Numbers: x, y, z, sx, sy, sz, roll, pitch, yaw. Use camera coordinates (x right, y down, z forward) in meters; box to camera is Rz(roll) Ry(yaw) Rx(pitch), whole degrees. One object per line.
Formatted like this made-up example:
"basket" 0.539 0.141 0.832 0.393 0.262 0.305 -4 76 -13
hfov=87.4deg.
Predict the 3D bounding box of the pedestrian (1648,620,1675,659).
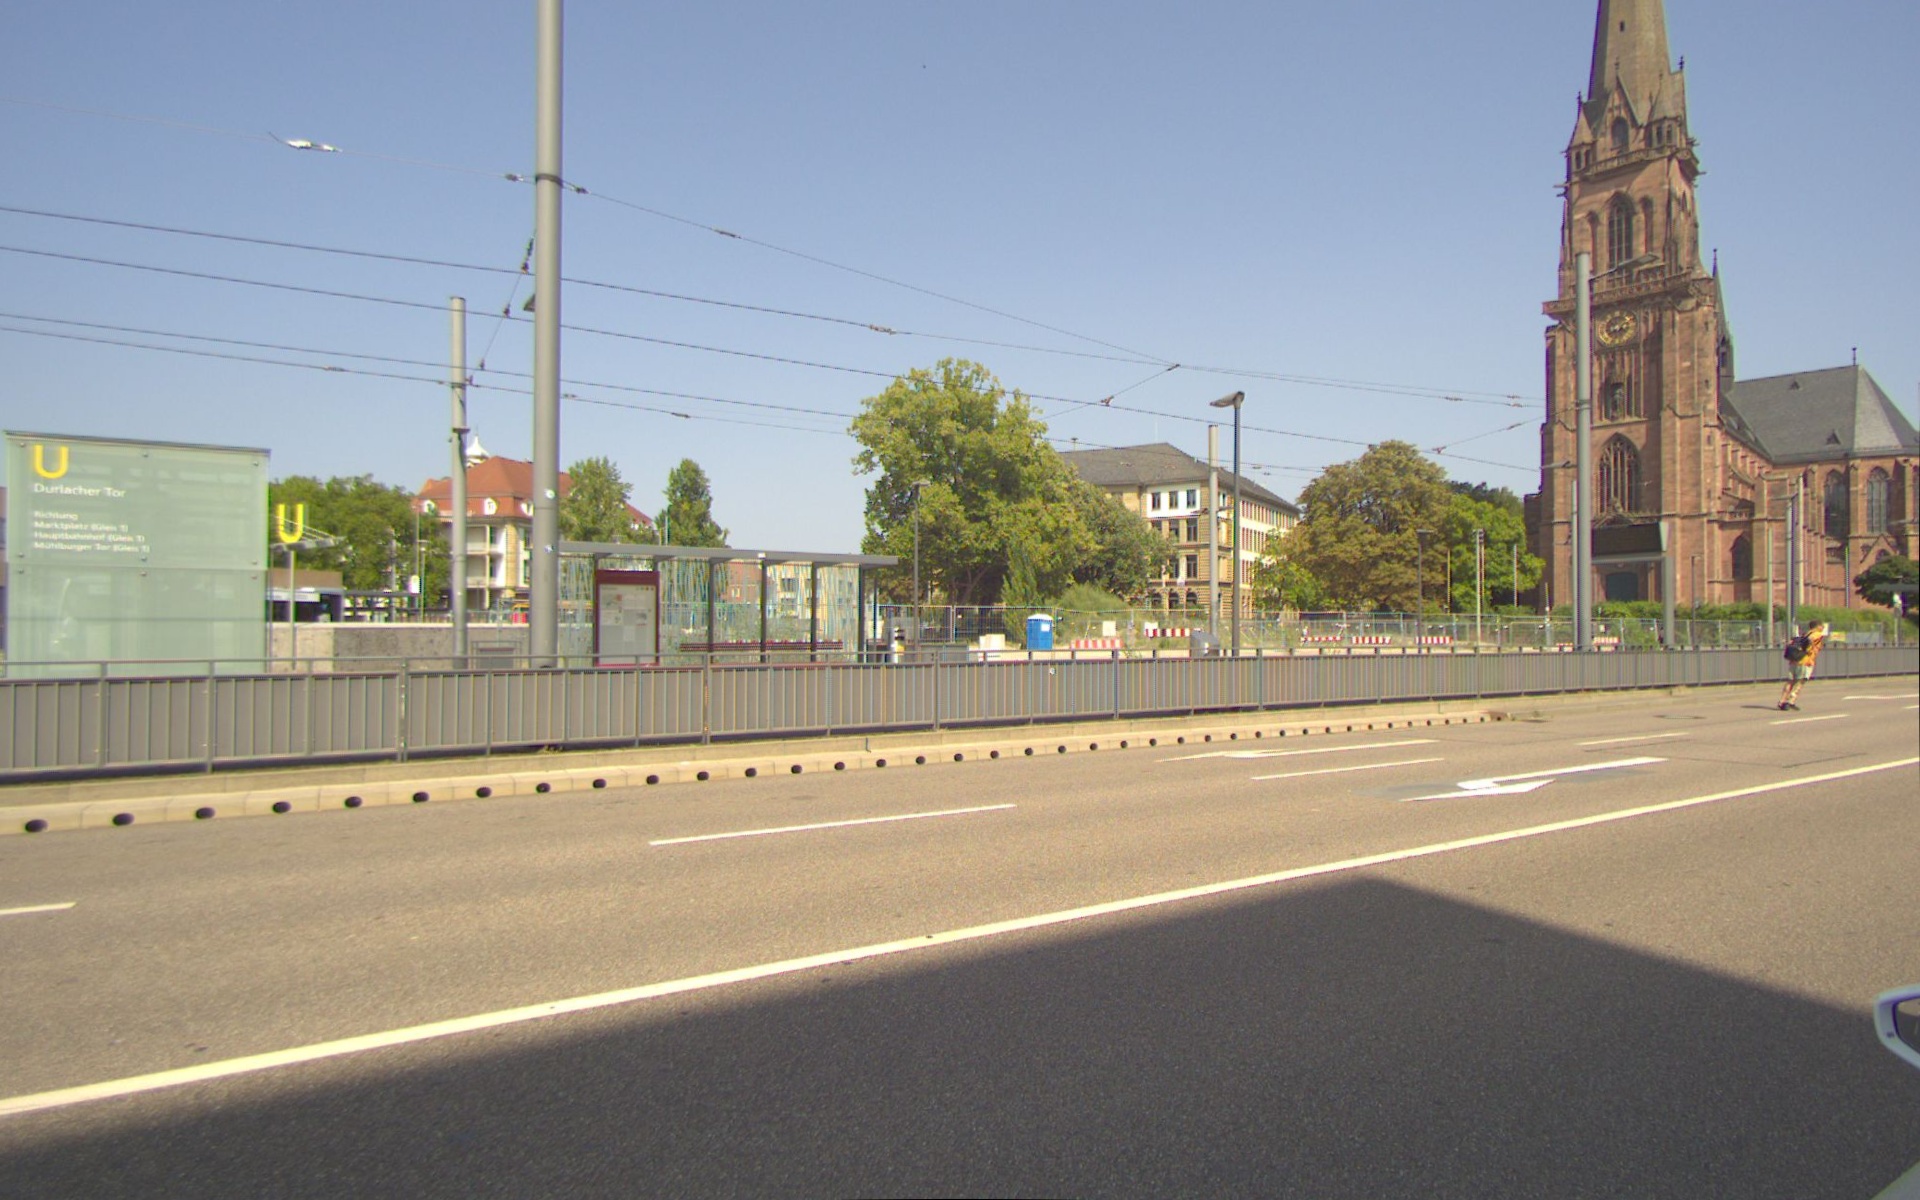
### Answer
"pedestrian" 32.711 1.833 46.833 0.712 1.775 0.825 1 -2 -30

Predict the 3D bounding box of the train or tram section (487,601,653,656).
"train or tram section" -31.674 2.432 83.234 3.982 3.972 16.683 -2 -2 13

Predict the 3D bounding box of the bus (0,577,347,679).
"bus" -30.567 1.001 39.906 2.623 3.375 12.766 0 -1 11

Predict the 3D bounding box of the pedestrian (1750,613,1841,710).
"pedestrian" 15.612 1.140 18.797 1.047 1.775 0.763 1 -1 1
